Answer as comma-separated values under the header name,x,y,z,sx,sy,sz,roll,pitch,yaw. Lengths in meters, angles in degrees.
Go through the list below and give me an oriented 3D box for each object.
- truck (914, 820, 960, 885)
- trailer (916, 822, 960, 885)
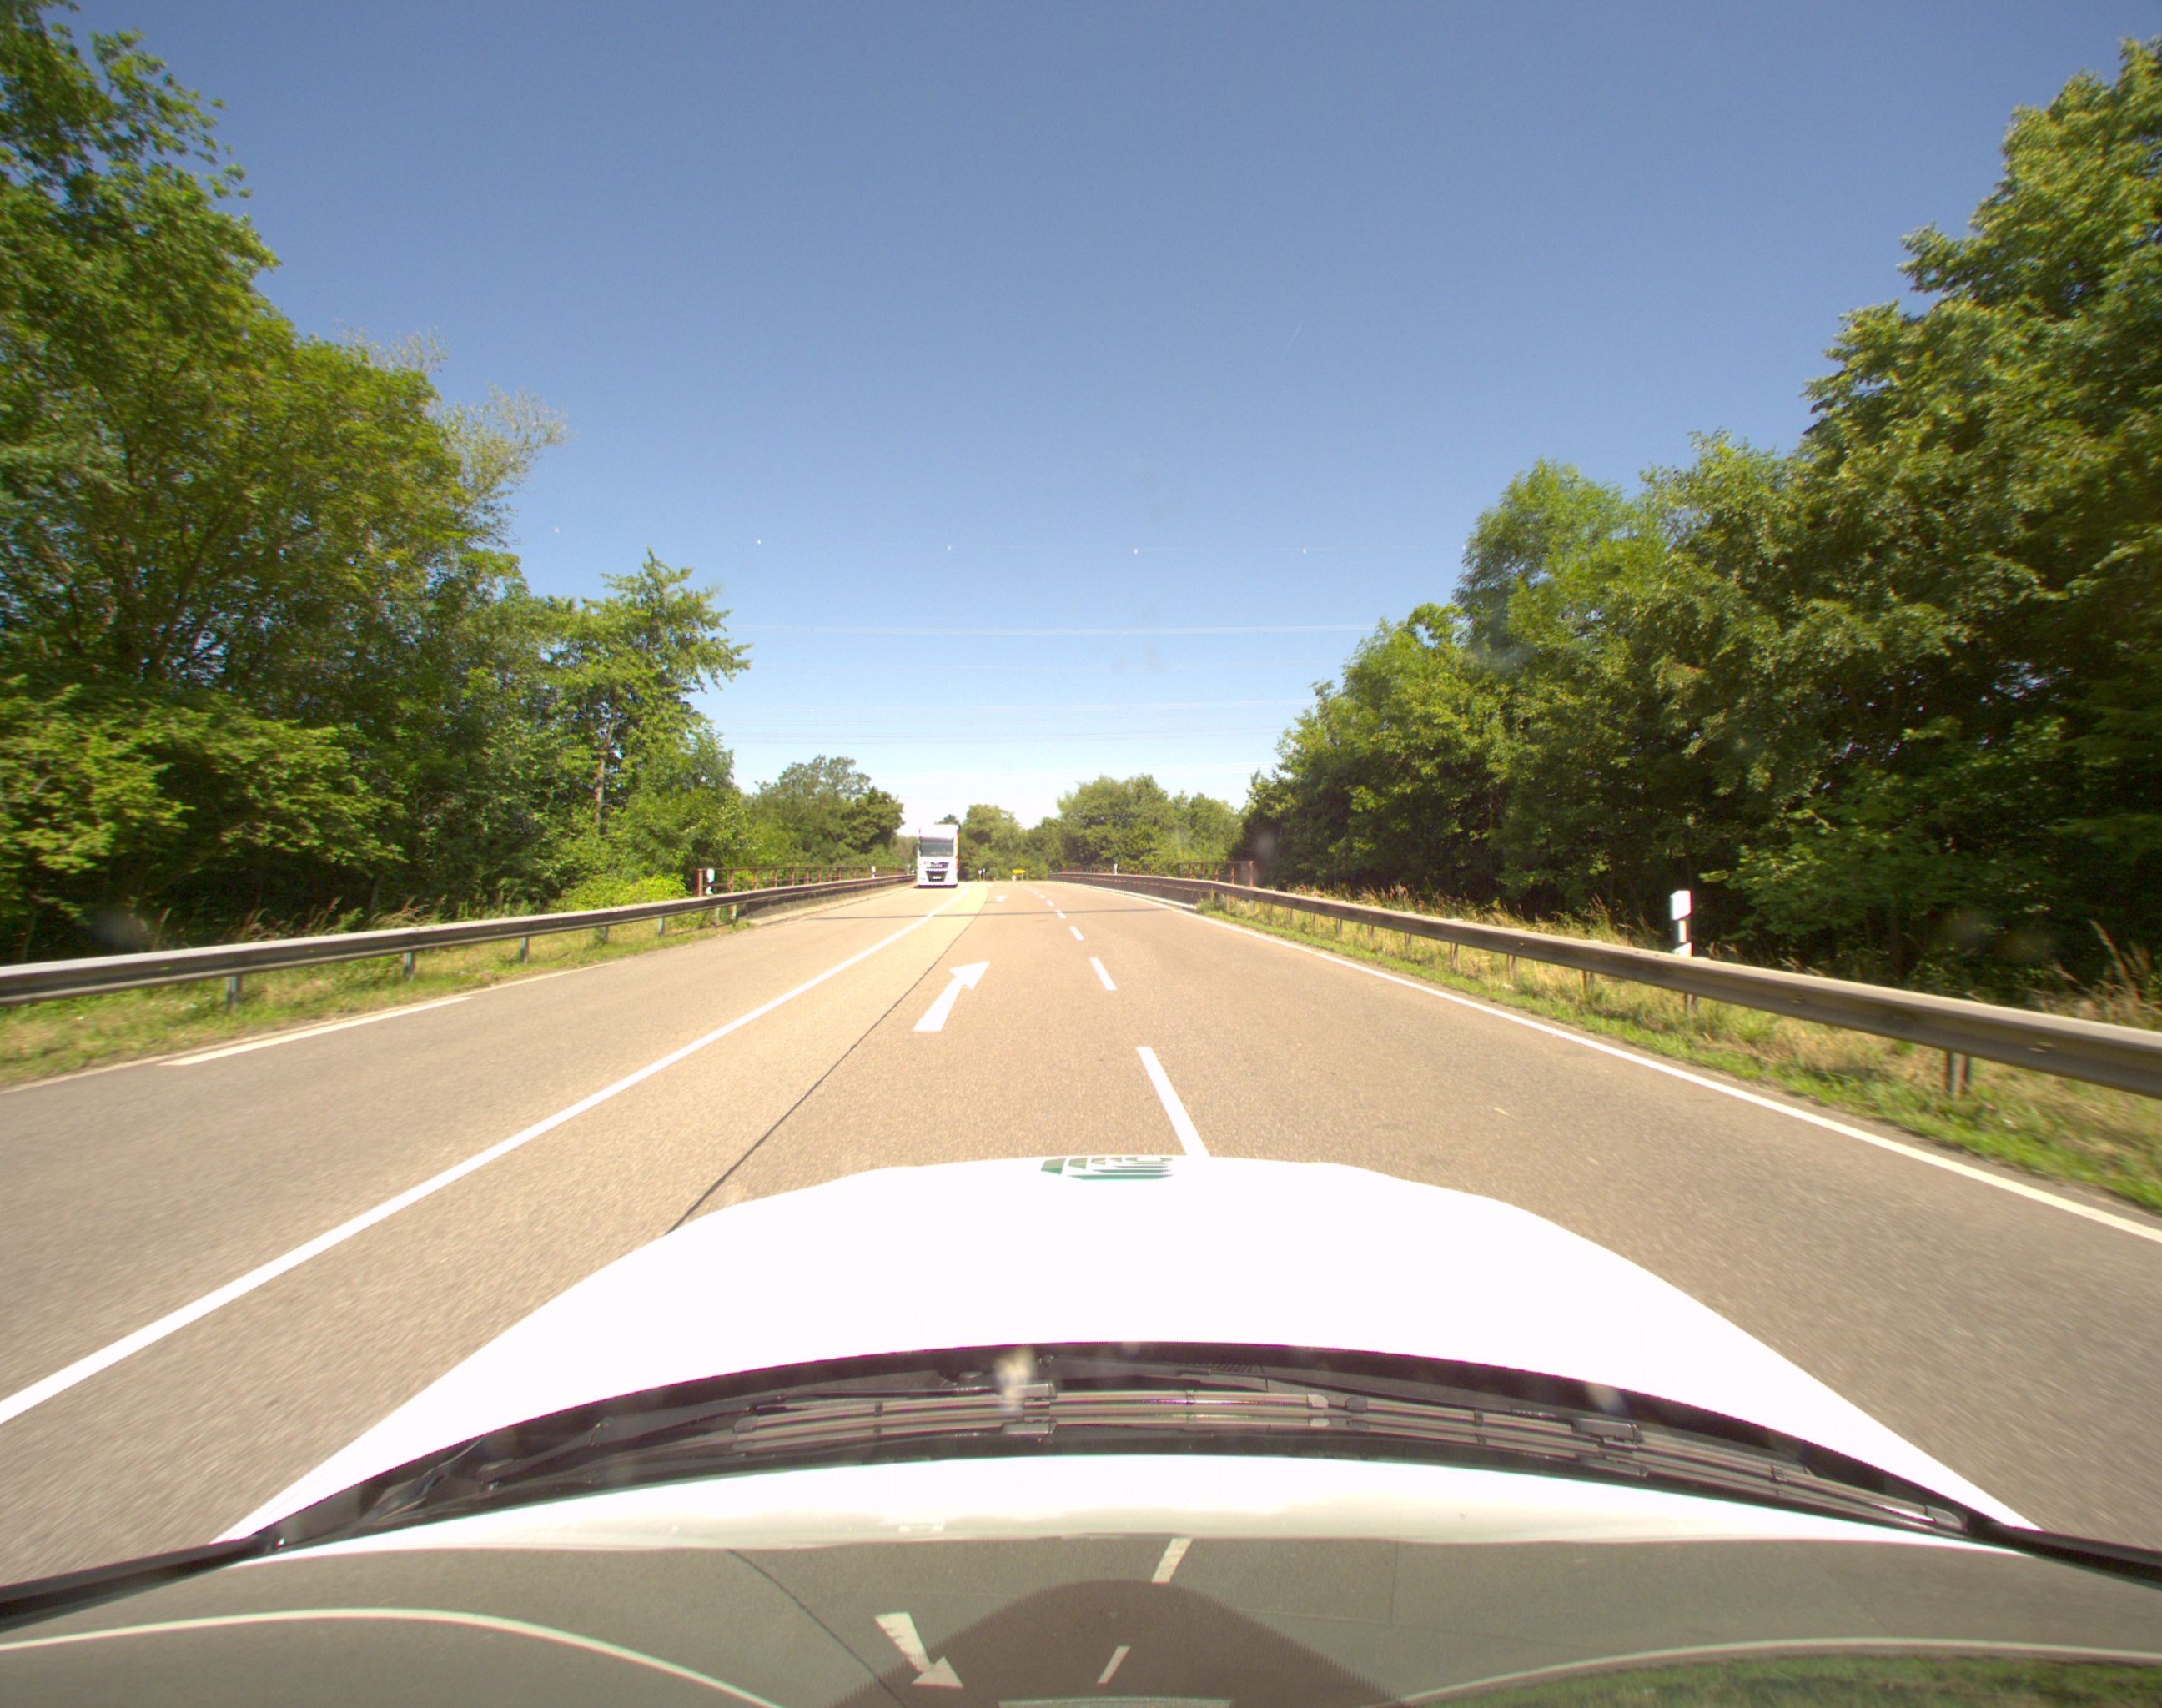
name,x,y,z,sx,sy,sz,roll,pitch,yaw
truck,-9.390,-0.035,53.467,2.768,4.034,5.836,-1,-1,-9
trailer,-10.389,0.126,59.791,2.768,4.062,14.152,-1,-1,-9
